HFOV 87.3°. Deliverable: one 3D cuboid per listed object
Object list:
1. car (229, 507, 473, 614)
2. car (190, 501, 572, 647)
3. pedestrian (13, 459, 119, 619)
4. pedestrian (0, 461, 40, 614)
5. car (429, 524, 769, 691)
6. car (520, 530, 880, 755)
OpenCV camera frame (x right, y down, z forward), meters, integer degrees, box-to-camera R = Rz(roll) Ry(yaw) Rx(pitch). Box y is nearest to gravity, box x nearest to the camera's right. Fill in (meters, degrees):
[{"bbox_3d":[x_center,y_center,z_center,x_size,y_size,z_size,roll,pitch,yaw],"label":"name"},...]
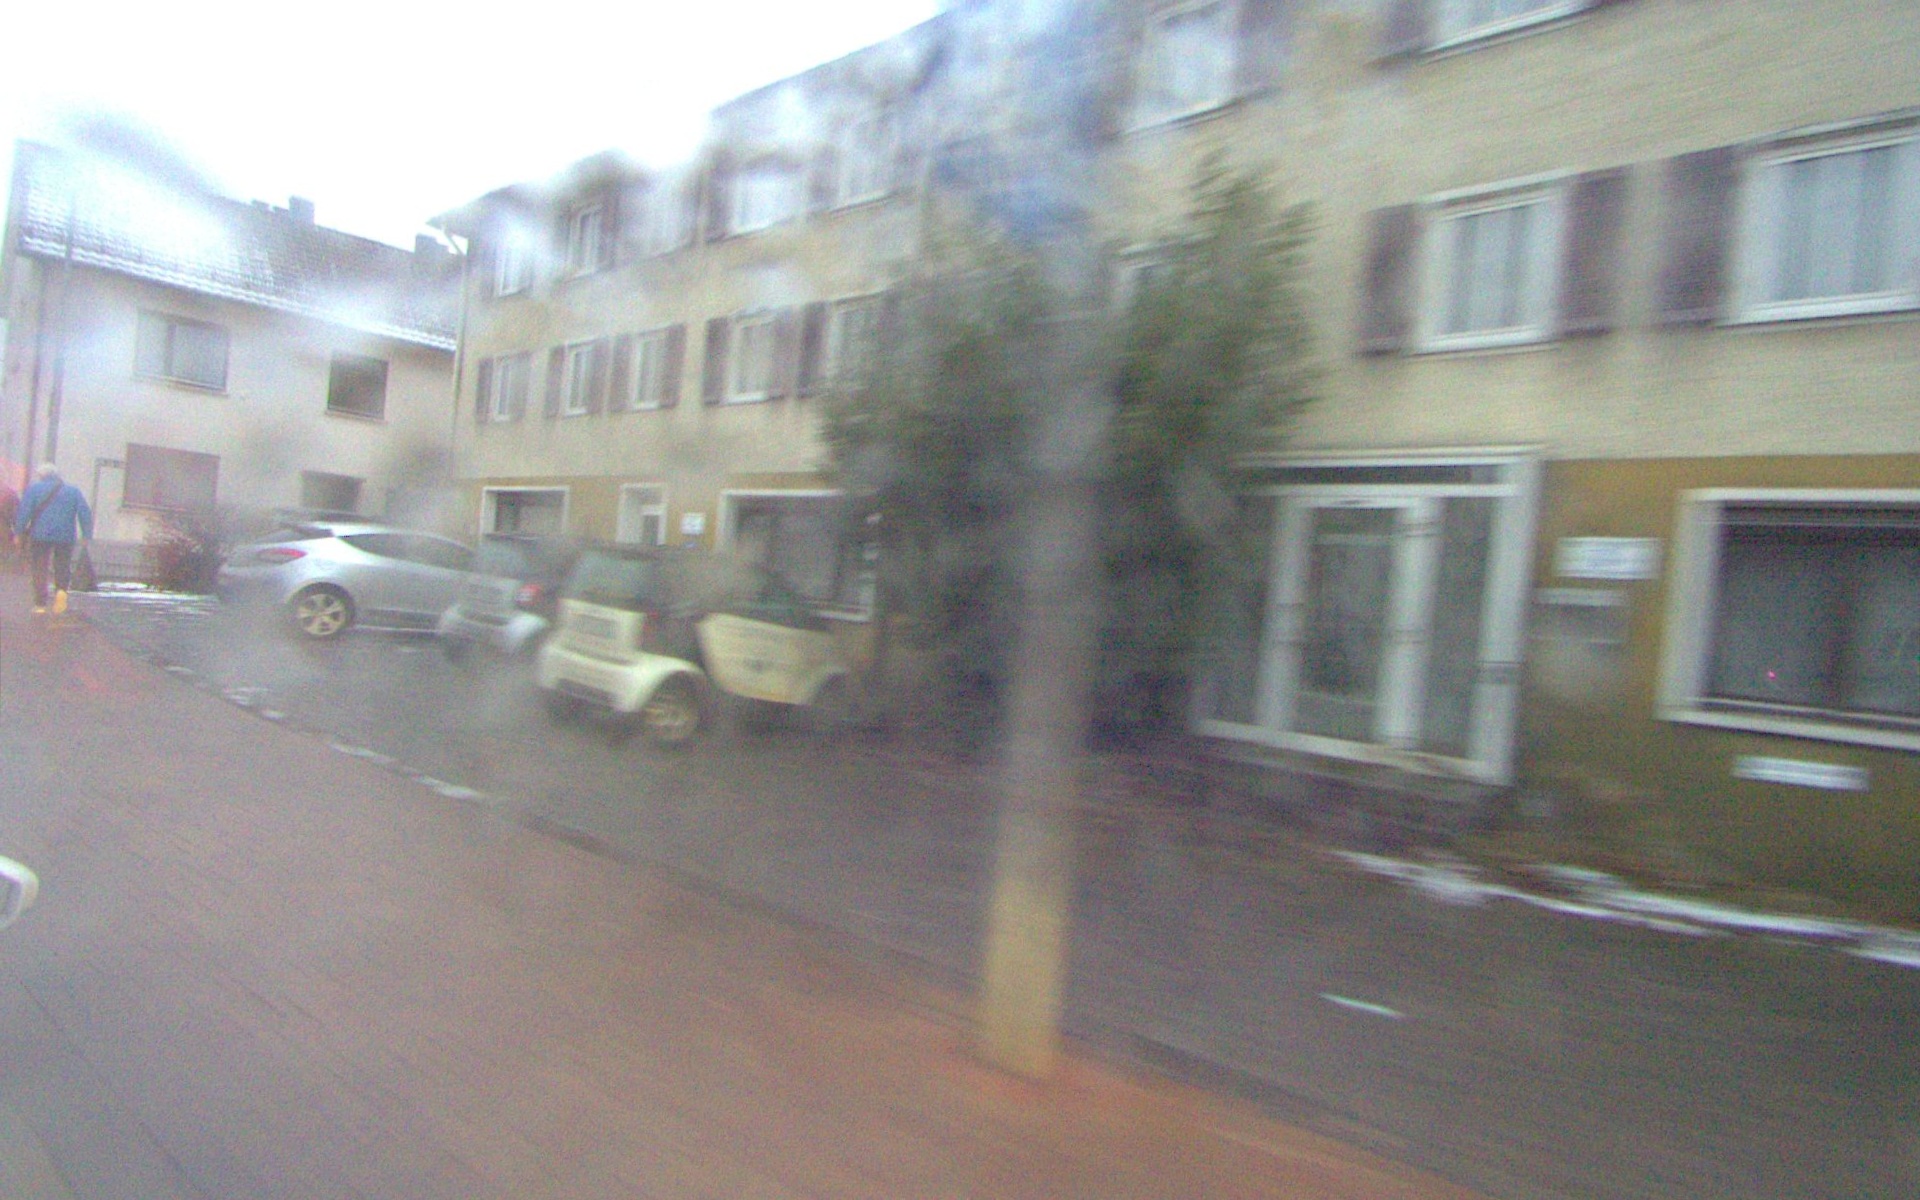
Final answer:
[{"bbox_3d":[-10.452,-0.646,17.423,1.563,1.493,3.212,7,1,37],"label":"car"},{"bbox_3d":[-7.348,-0.270,13.070,1.725,1.493,3.893,7,1,39],"label":"car"},{"bbox_3d":[-10.480,-0.712,11.788,0.845,1.757,0.959,1,4,-45],"label":"pedestrian"},{"bbox_3d":[-11.090,-0.744,11.425,0.979,1.690,0.864,8,4,44],"label":"pedestrian"},{"bbox_3d":[-3.820,0.118,10.965,1.527,1.493,3.059,7,1,39],"label":"car"},{"bbox_3d":[-2.195,0.351,8.872,1.527,1.567,2.581,8,2,37],"label":"car"}]
